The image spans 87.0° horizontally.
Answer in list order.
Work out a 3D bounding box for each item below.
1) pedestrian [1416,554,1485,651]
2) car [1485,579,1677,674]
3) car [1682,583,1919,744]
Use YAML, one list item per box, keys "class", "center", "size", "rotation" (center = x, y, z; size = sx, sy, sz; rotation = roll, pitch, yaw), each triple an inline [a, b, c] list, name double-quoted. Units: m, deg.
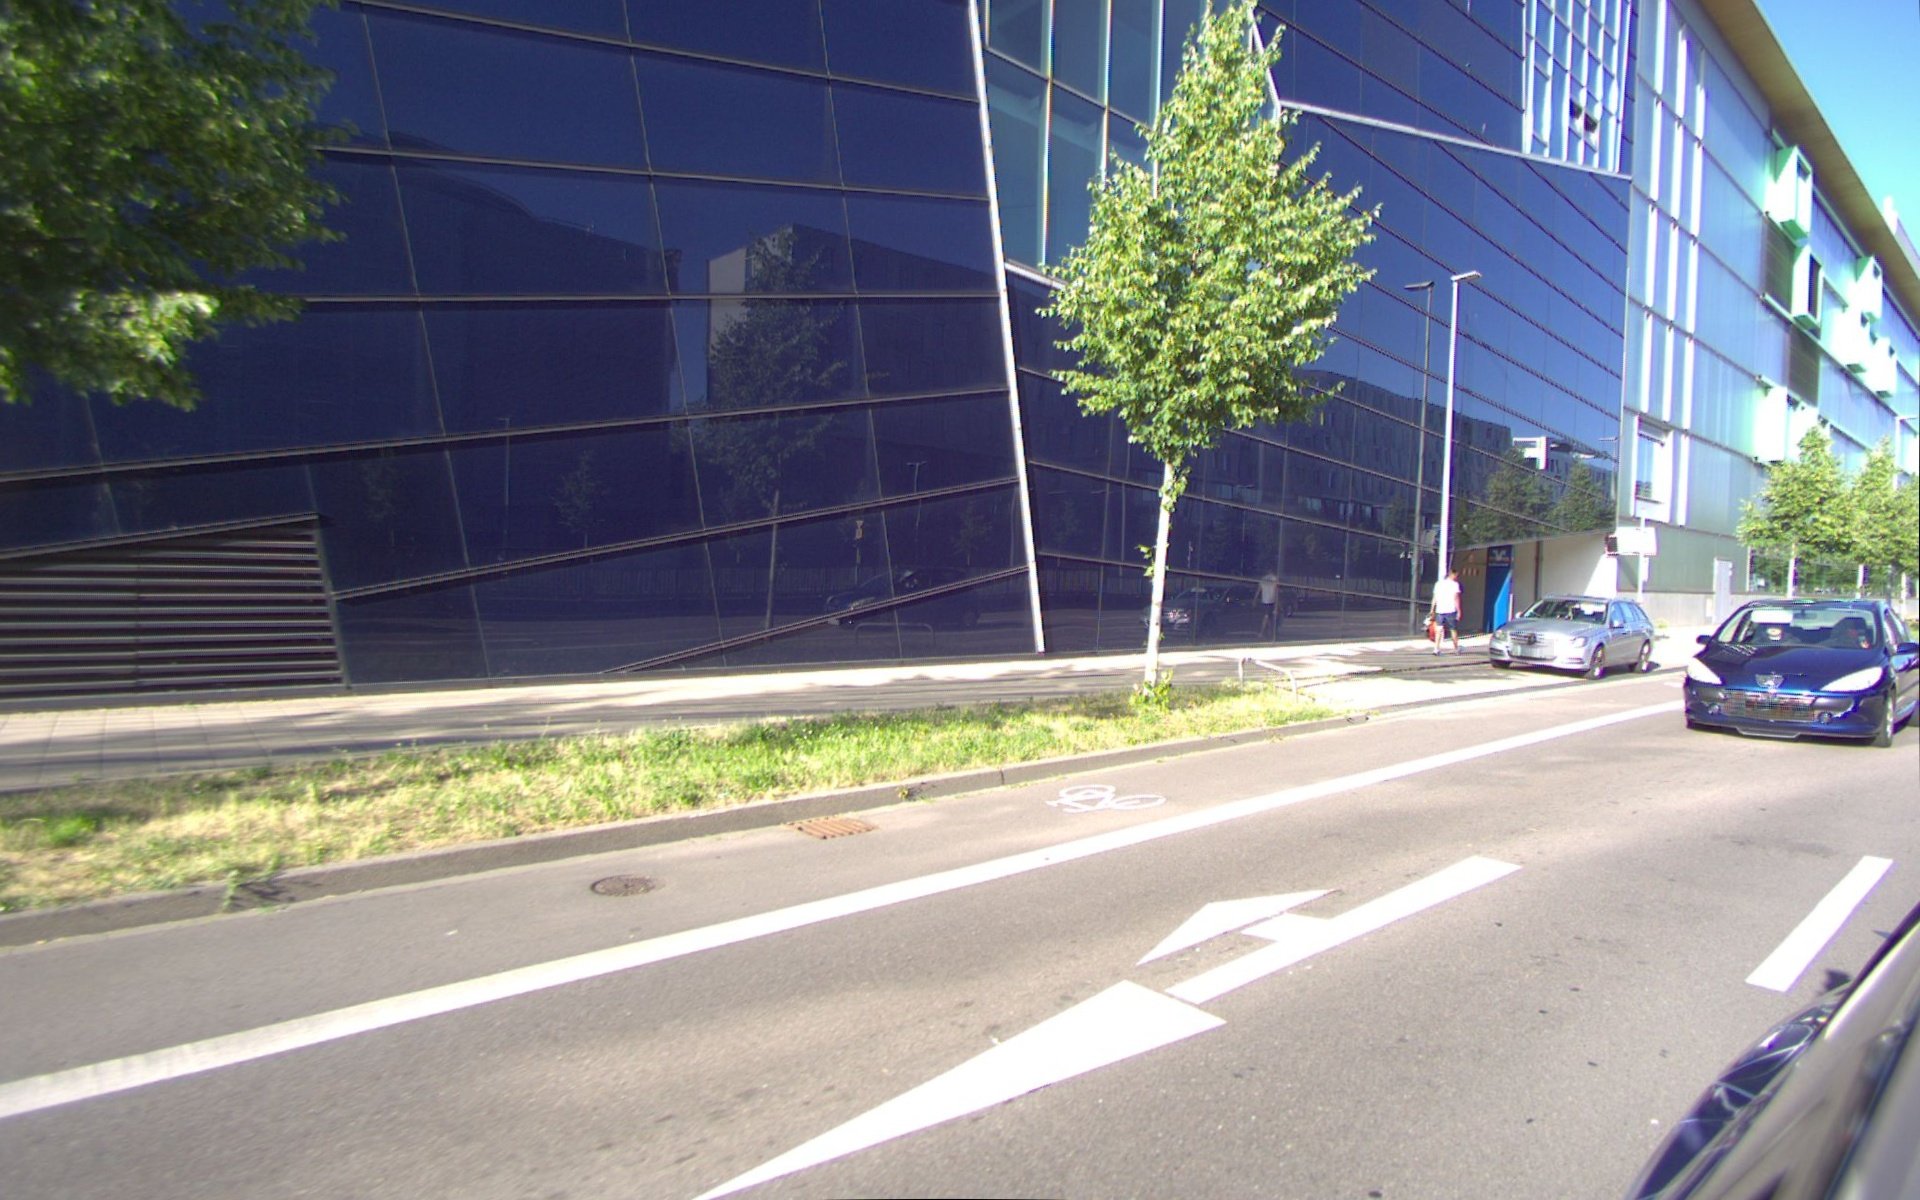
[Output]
- class: "pedestrian"
  center: [9.941, 0.038, 20.512]
  size: [0.889, 1.846, 0.829]
  rotation: [0, 5, -41]
- class: "car"
  center: [11.883, 0.435, 19.242]
  size: [4.633, 1.516, 1.739]
  rotation: [0, 4, -41]
- class: "car"
  center: [9.787, 0.586, 11.459]
  size: [3.902, 1.497, 1.752]
  rotation: [0, 1, -41]
